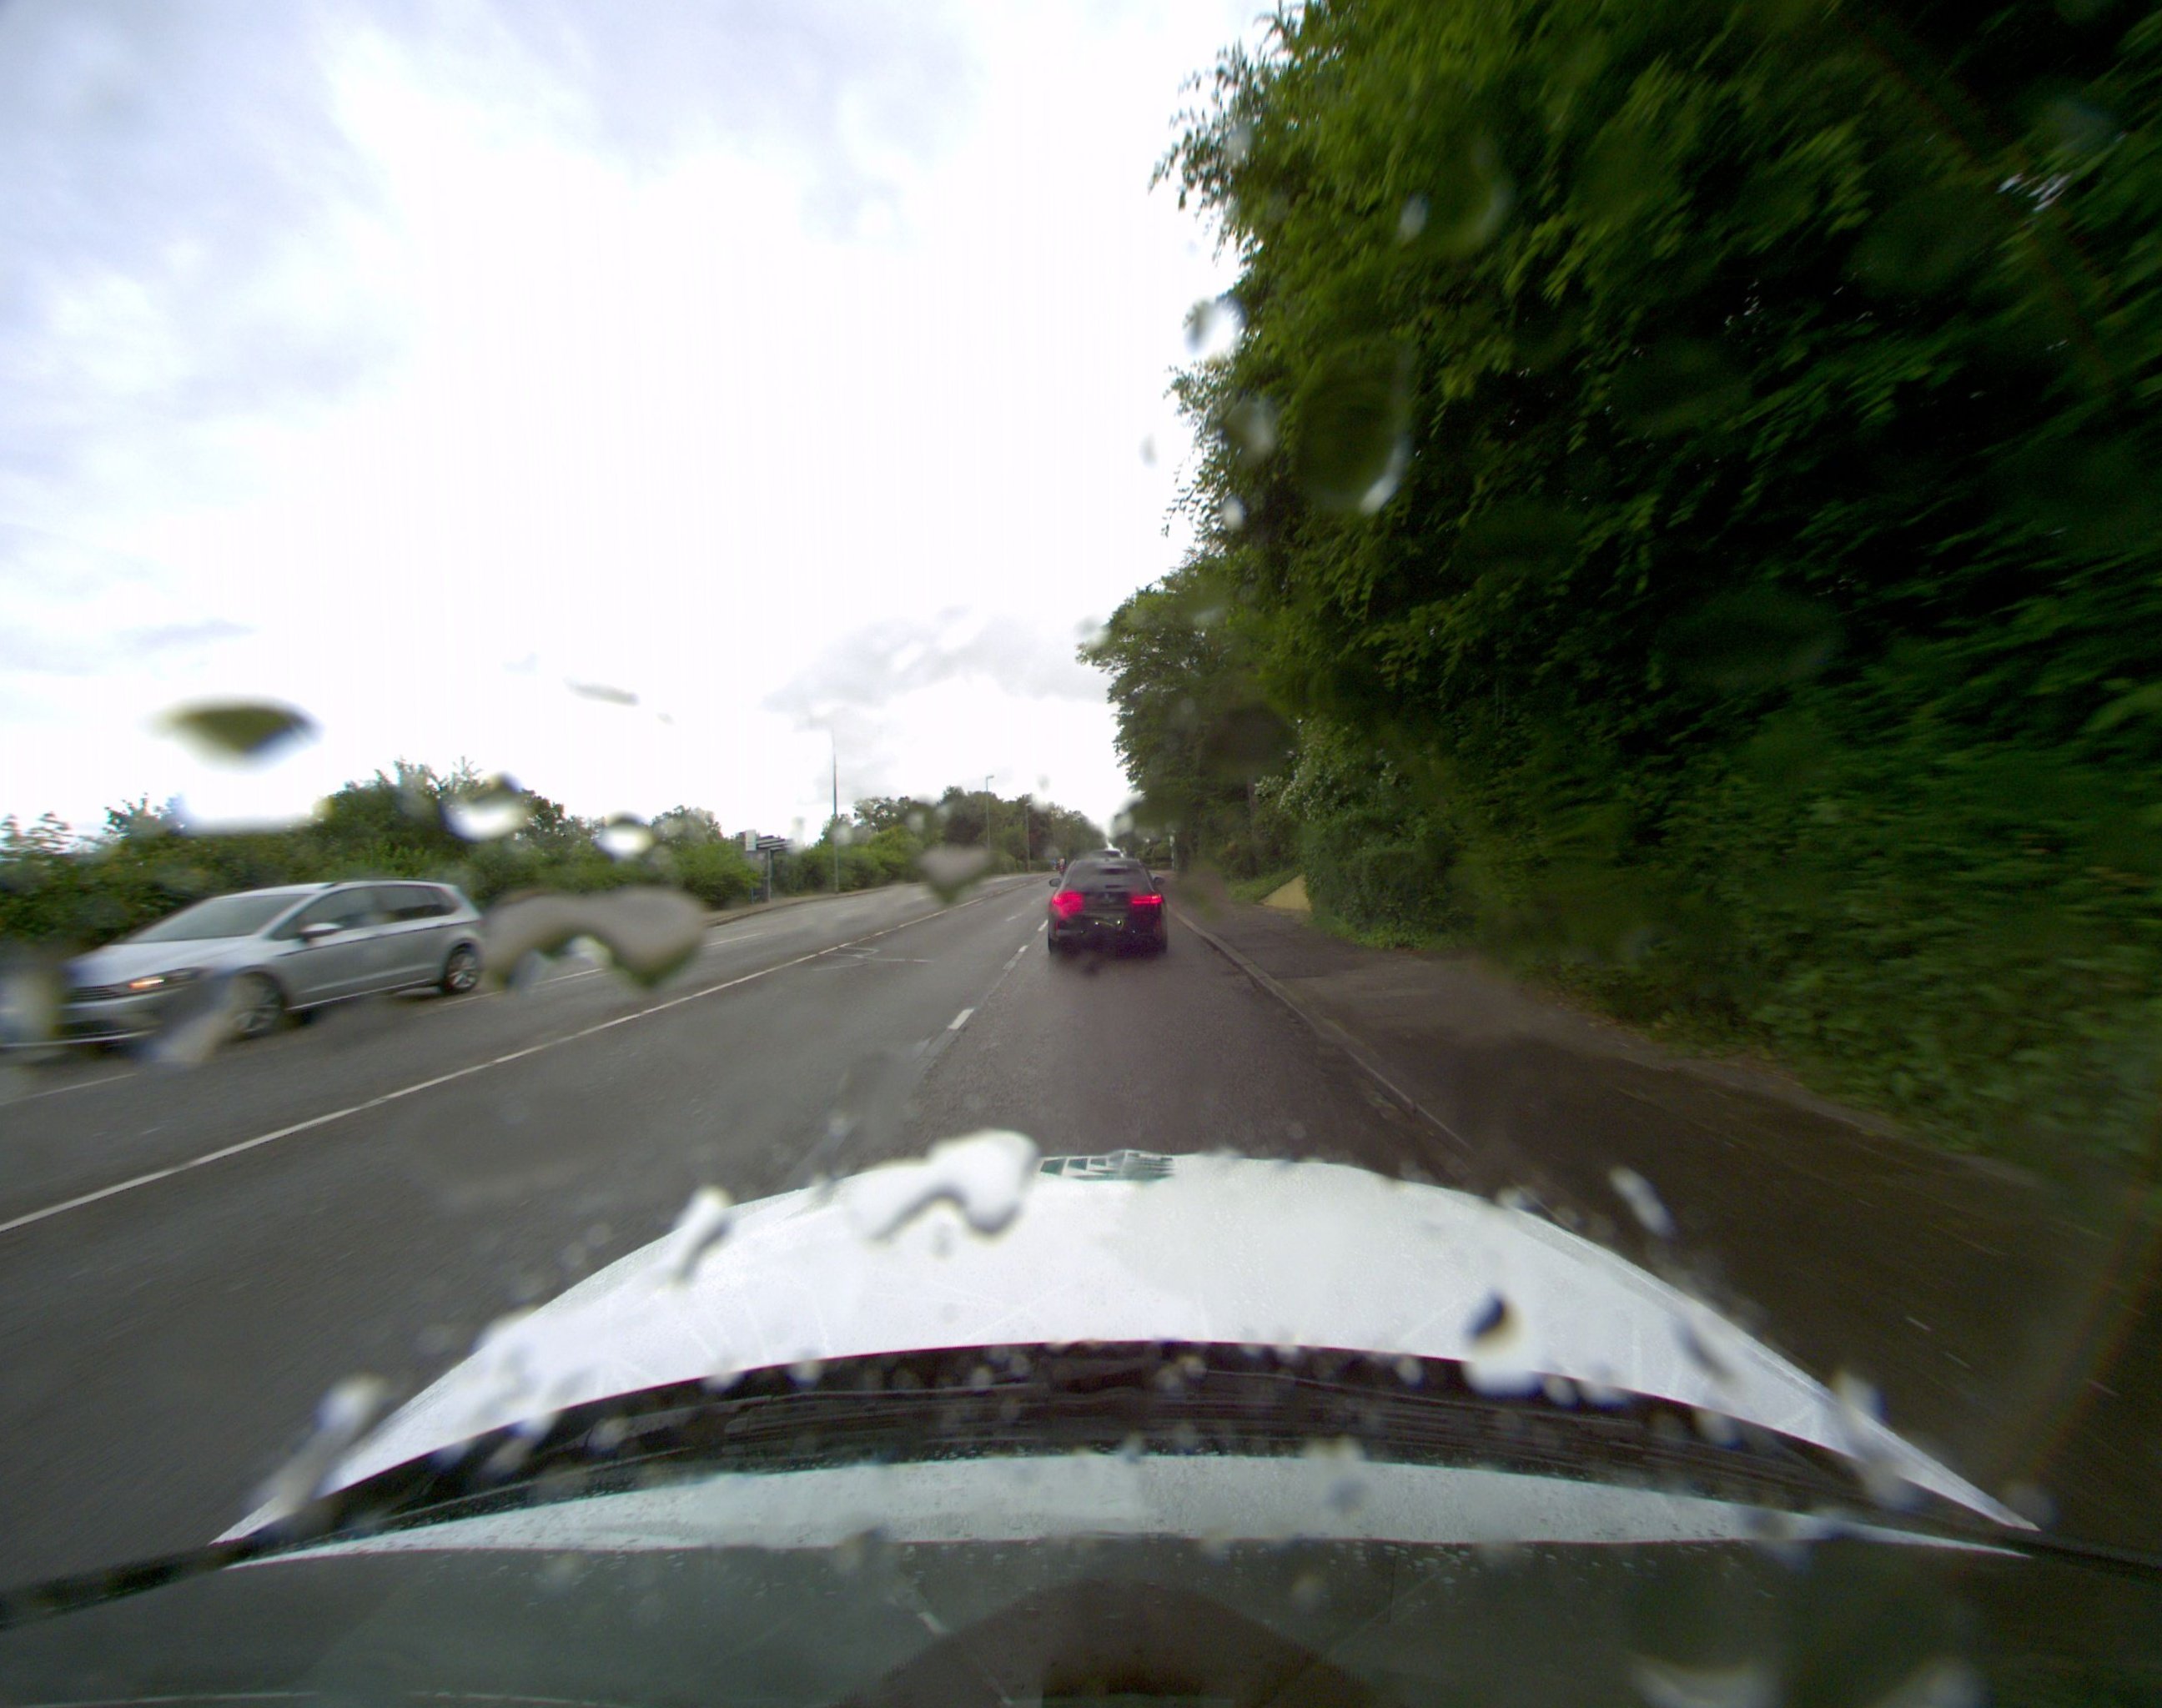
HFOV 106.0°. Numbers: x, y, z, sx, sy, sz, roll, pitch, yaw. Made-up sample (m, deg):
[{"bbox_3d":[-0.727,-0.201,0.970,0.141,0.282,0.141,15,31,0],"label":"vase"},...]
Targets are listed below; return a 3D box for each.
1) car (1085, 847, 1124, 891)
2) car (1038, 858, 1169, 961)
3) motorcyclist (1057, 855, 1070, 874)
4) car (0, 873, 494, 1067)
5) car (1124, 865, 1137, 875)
[{"bbox_3d":[1.091,0.677,37.511,1.623,1.833,4.001,-3,-1,2],"label":"car"},{"bbox_3d":[0.429,0.828,13.850,1.889,1.489,4.003,0,-1,3],"label":"car"},{"bbox_3d":[-1.477,0.891,69.505,1.035,1.568,0.855,0,-2,1],"label":"motorcyclist"},{"bbox_3d":[-8.985,1.075,9.183,1.750,1.568,3.999,-3,-1,0],"label":"car"},{"bbox_3d":[7.951,2.524,130.051,1.927,1.442,4.413,-2,-1,4],"label":"car"}]
